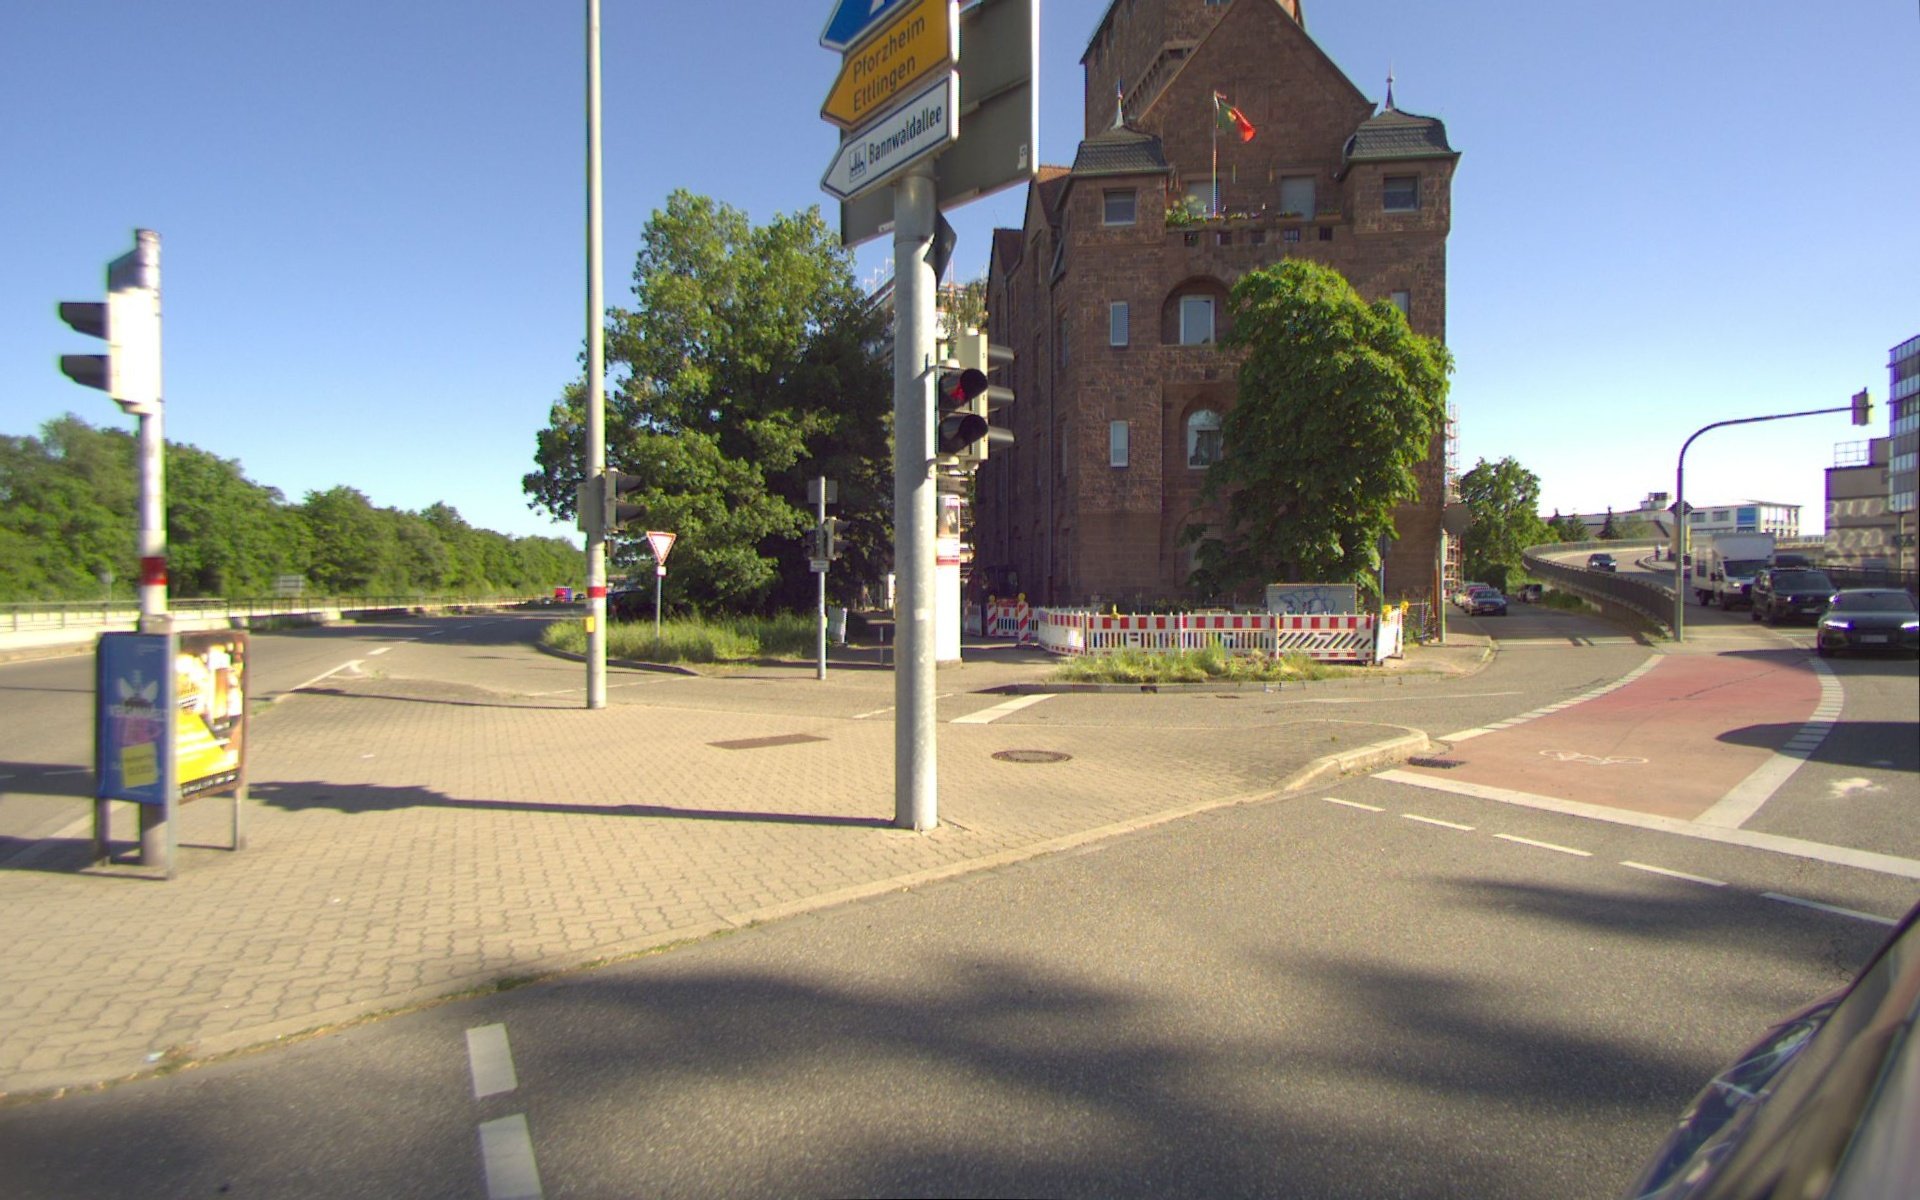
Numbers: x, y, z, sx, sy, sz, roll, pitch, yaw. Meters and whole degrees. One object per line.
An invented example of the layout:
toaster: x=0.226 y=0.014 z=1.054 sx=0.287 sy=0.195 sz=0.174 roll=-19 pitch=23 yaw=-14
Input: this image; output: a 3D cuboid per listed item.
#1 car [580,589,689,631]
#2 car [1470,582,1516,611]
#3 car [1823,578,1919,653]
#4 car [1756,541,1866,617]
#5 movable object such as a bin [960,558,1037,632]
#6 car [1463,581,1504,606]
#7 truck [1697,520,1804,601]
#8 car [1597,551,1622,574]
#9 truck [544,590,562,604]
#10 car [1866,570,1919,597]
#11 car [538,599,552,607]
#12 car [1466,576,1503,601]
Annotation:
car: x=-12.910 y=0.354 z=40.314 sx=1.988 sy=1.581 sz=3.733 roll=0 pitch=1 yaw=36
car: x=29.907 y=-0.223 z=56.866 sx=2.032 sy=1.551 sz=4.058 roll=0 pitch=0 yaw=25
car: x=20.391 y=0.270 z=22.162 sx=4.560 sy=1.489 sz=1.875 roll=-1 pitch=1 yaw=-44
car: x=27.665 y=-0.666 z=33.051 sx=1.935 sy=2.290 sz=4.734 roll=0 pitch=1 yaw=30
movable object such as a bin: x=1.267 y=-0.189 z=35.485 sx=1.959 sy=2.440 sz=4.006 roll=0 pitch=1 yaw=-9
car: x=33.010 y=-0.405 z=63.891 sx=2.032 sy=1.551 sz=4.059 roll=0 pitch=0 yaw=24
truck: x=33.368 y=-1.584 z=42.968 sx=2.482 sy=3.167 sz=6.890 roll=0 pitch=1 yaw=29
car: x=54.397 y=-3.091 z=84.794 sx=1.745 sy=1.781 sz=4.729 roll=0 pitch=1 yaw=33
truck: x=-74.650 y=-0.563 z=185.699 sx=2.239 sy=2.416 sz=5.395 roll=-2 pitch=1 yaw=-15
car: x=57.504 y=-1.044 z=62.017 sx=1.981 sy=1.527 sz=3.962 roll=-2 pitch=1 yaw=28
car: x=-79.151 y=0.621 z=192.928 sx=1.958 sy=1.415 sz=4.008 roll=-3 pitch=1 yaw=-15
car: x=36.593 y=-0.783 z=70.696 sx=2.032 sy=1.707 sz=4.059 roll=0 pitch=0 yaw=24
